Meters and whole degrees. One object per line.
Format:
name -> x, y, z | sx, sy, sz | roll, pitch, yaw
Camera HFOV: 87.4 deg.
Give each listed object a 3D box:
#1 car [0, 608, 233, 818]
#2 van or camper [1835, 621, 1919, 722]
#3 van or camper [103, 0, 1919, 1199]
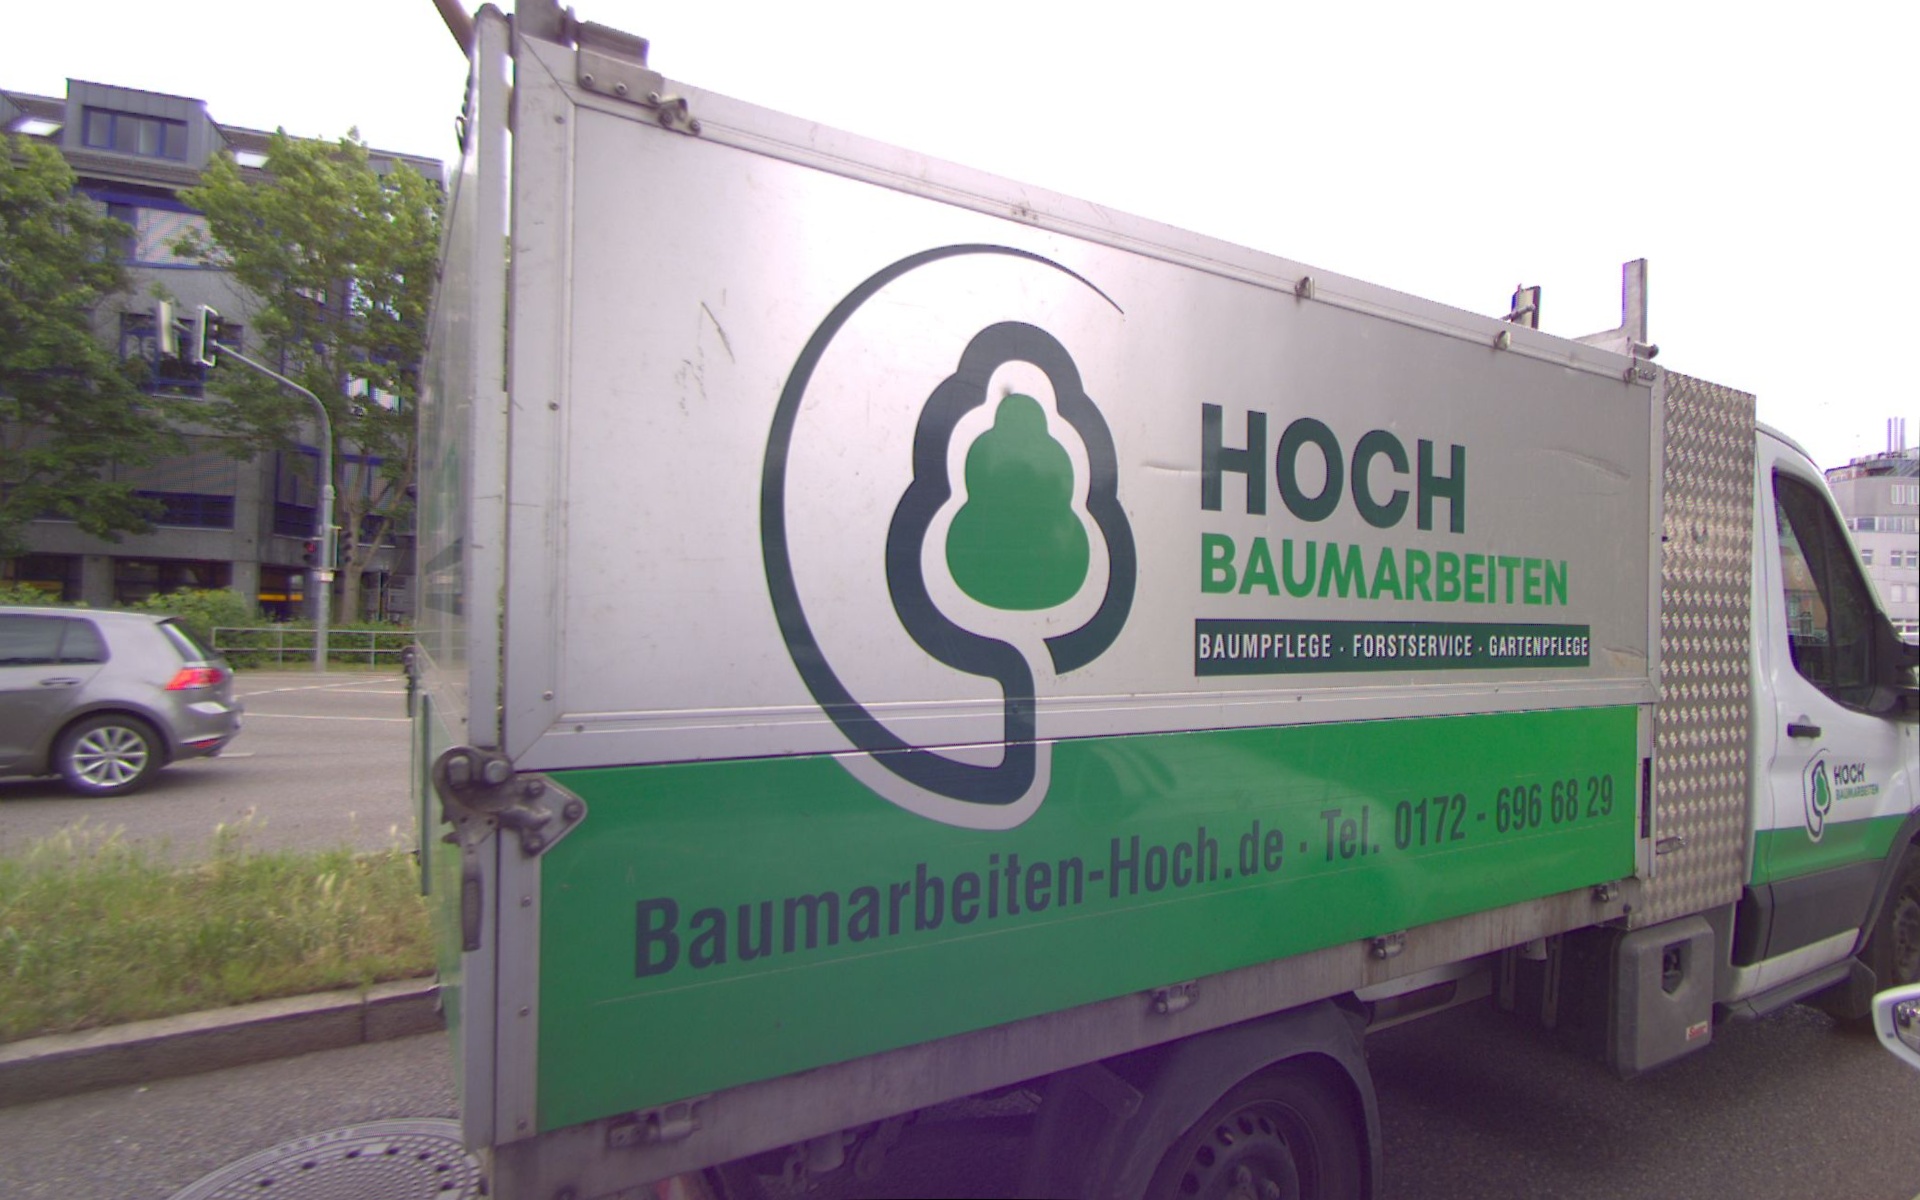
car -> -7.972, 0.804, 7.520 | 3.957, 1.483, 1.734 | 1, -1, -33
van or camper -> 21.021, 1.519, 21.580 | 5.190, 1.963, 1.916 | 2, -1, -32
van or camper -> 1.165, 0.268, 3.411 | 5.901, 2.697, 2.329 | 1, -1, -33
